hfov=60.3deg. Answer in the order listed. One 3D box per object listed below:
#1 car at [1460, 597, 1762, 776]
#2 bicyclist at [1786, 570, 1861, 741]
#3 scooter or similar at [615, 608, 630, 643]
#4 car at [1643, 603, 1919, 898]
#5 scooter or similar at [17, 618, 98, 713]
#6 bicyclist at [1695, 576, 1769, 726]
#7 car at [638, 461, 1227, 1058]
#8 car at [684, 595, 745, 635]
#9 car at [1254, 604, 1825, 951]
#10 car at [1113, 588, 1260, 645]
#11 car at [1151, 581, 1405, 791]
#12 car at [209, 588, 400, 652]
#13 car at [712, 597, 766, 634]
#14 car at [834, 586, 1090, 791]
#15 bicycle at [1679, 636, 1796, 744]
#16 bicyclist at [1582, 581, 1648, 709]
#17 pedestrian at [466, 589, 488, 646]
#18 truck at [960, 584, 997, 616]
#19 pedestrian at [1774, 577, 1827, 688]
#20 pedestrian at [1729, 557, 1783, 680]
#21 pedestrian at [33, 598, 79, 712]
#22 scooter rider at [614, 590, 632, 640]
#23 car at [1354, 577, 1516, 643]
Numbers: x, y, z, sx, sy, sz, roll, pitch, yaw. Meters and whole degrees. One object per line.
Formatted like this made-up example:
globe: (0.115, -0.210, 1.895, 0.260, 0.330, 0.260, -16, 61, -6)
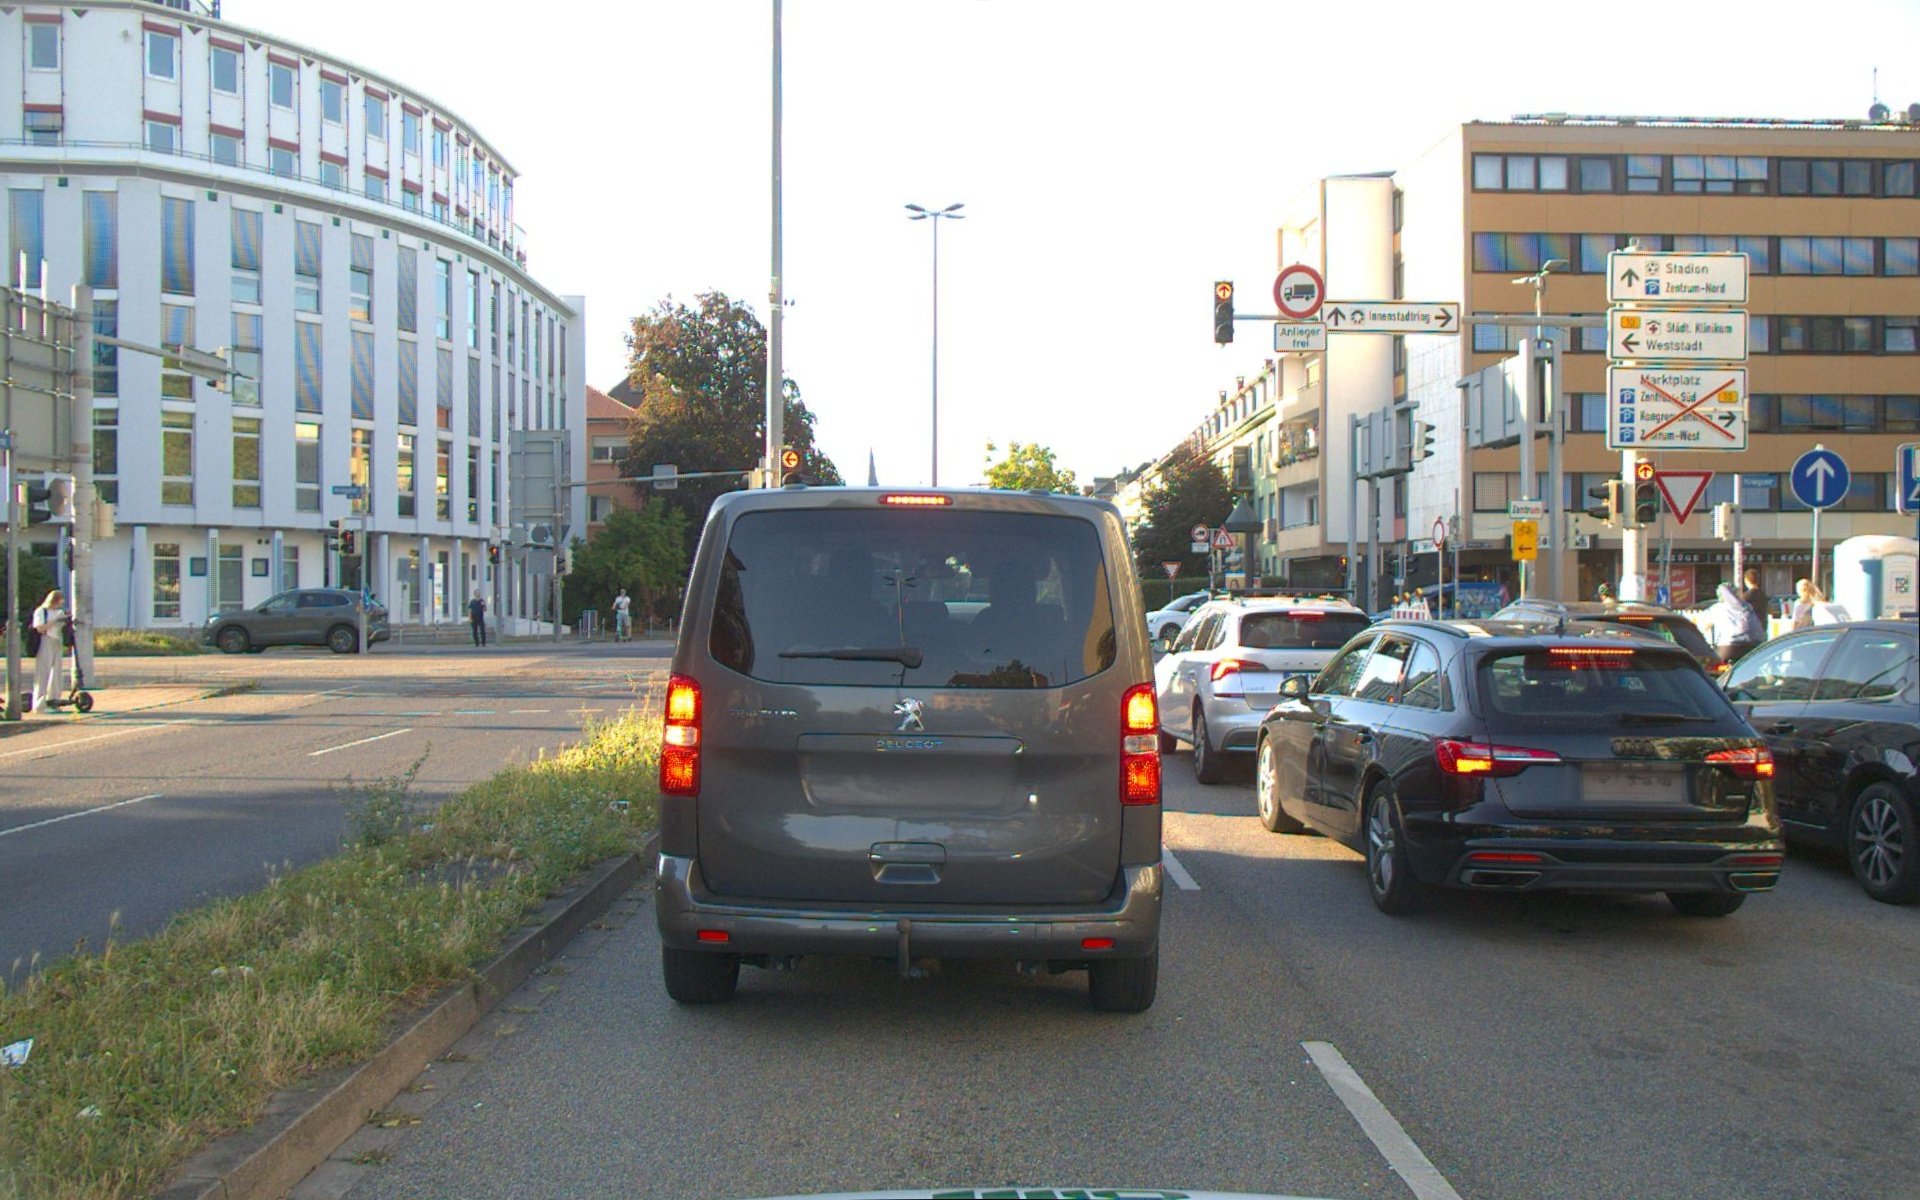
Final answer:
car: (5.922, 0.718, 15.430, 1.474, 1.474, 3.304, 0, 0, -1)
bicyclist: (7.975, 0.504, 15.291, 0.432, 1.552, 0.482, 0, 0, -1)
scooter or similar: (-11.856, 0.885, 58.134, 0.279, 1.209, 1.169, 0, 0, -1)
car: (5.652, 0.785, 9.802, 1.600, 1.474, 3.744, 1, 0, -1)
scooter or similar: (-12.156, 0.877, 22.280, 0.877, 1.255, 0.370, 0, 0, -12)
bicyclist: (8.137, 0.524, 17.452, 0.432, 1.552, 0.725, 0, 0, -1)
car: (-0.118, 0.510, 7.609, 1.868, 1.896, 4.525, 1, 0, -1)
car: (-9.219, 0.542, 62.345, 1.819, 1.445, 3.998, 0, 0, -2)
car: (2.885, 0.773, 9.262, 1.647, 1.446, 4.213, 1, 0, -1)
car: (6.152, 0.426, 44.964, 3.623, 1.412, 1.685, -2, 0, -22)
car: (2.741, 0.676, 14.988, 1.498, 1.641, 3.744, 1, 0, -1)
car: (-16.735, 0.492, 42.422, 4.259, 1.576, 1.784, 0, 0, -10)
car: (-9.030, 0.600, 67.894, 1.819, 1.445, 3.998, 0, 0, -2)
car: (-0.015, 0.669, 14.679, 1.953, 1.557, 3.999, 0, 0, -1)
bicycle: (8.133, 0.916, 17.369, 0.329, 1.025, 1.855, 0, 0, -1)
bicyclist: (8.066, 0.544, 20.386, 0.503, 1.552, 0.725, 0, 0, -1)
pedestrian: (-14.805, 0.528, 50.743, 0.615, 1.752, 0.669, 0, 0, -15)
truck: (1.298, -0.001, 113.349, 2.082, 2.123, 4.634, 0, 0, 6)
pedestrian: (13.031, 0.501, 25.642, 0.592, 1.700, 0.452, 0, 0, -18)
pedestrian: (12.256, 0.279, 25.467, 0.560, 1.866, 0.486, 0, 0, -14)
pedestrian: (-12.250, 0.735, 22.413, 0.466, 1.532, 0.334, 0, 0, -13)
scooter rider: (-11.850, 0.524, 58.171, 0.471, 1.727, 0.636, 0, 0, -1)
car: (13.839, 0.261, 48.256, 4.145, 1.849, 1.992, 0, 0, -15)
